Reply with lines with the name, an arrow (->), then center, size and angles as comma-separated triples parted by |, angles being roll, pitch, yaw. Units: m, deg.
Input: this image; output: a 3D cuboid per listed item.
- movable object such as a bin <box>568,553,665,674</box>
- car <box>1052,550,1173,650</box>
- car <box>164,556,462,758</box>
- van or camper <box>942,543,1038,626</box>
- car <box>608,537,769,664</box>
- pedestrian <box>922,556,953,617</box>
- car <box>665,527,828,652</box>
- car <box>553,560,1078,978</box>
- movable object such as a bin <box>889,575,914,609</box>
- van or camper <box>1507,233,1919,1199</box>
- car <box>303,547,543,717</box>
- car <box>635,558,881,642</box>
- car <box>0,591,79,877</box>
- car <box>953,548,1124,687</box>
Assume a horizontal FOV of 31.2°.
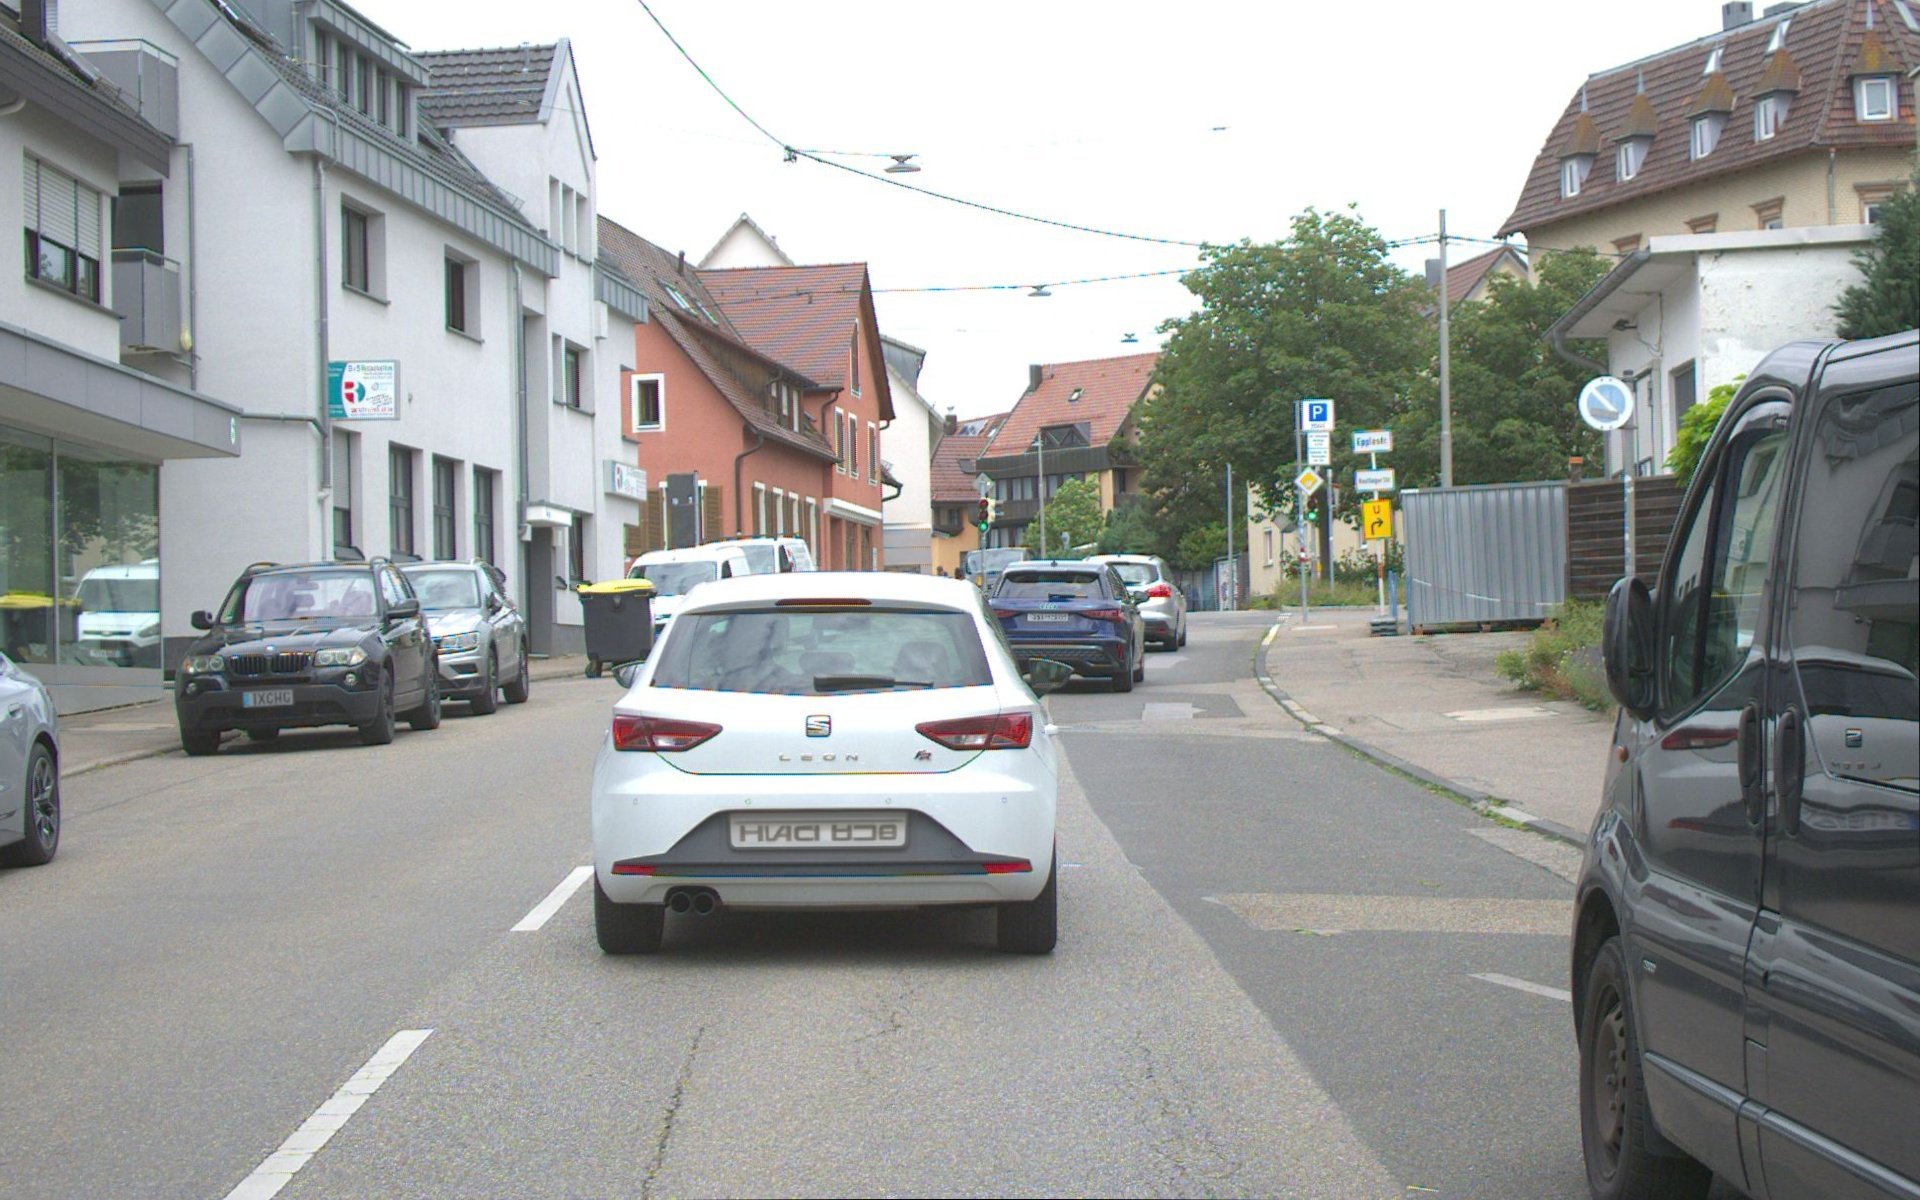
movable object such as a bin -> -4.827, 0.183, 48.415 | 1.140, 1.627, 1.563 | -3, 1, 0
car -> 2.356, 0.026, 52.690 | 1.758, 1.447, 3.999 | -1, -1, 3
car -> -5.804, 0.455, 31.327 | 1.837, 1.627, 4.408 | -3, 1, 0
van or camper -> 0.838, -0.399, 93.259 | 2.074, 1.999, 4.856 | -3, -2, 6
car -> -4.253, -0.027, 54.453 | 1.734, 1.825, 4.297 | -3, 1, 6
pedestrian -> -0.670, -0.408, 101.297 | 0.800, 1.778, 0.892 | -1, 0, 6
car -> -3.660, -0.218, 59.788 | 1.812, 1.999, 4.761 | -3, 1, 8
car -> -0.444, 0.599, 14.103 | 1.758, 1.447, 3.999 | -1, 0, 3
movable object such as a bin -> -1.743, -0.243, 102.887 | 0.665, 1.015, 0.795 | -2, 0, 3
van or camper -> 2.442, 0.450, 5.924 | 1.993, 2.007, 5.065 | 1, 1, -2
car -> -5.664, 0.296, 36.753 | 1.837, 1.627, 4.408 | -3, 1, 0
car -> -4.064, -0.007, 69.536 | 4.555, 1.440, 1.999 | -3, 0, 10
car -> -5.822, 0.744, 16.979 | 1.837, 1.440, 4.468 | -3, 1, -2
car -> 0.925, 0.216, 38.446 | 1.758, 1.447, 3.999 | -1, -1, 3
